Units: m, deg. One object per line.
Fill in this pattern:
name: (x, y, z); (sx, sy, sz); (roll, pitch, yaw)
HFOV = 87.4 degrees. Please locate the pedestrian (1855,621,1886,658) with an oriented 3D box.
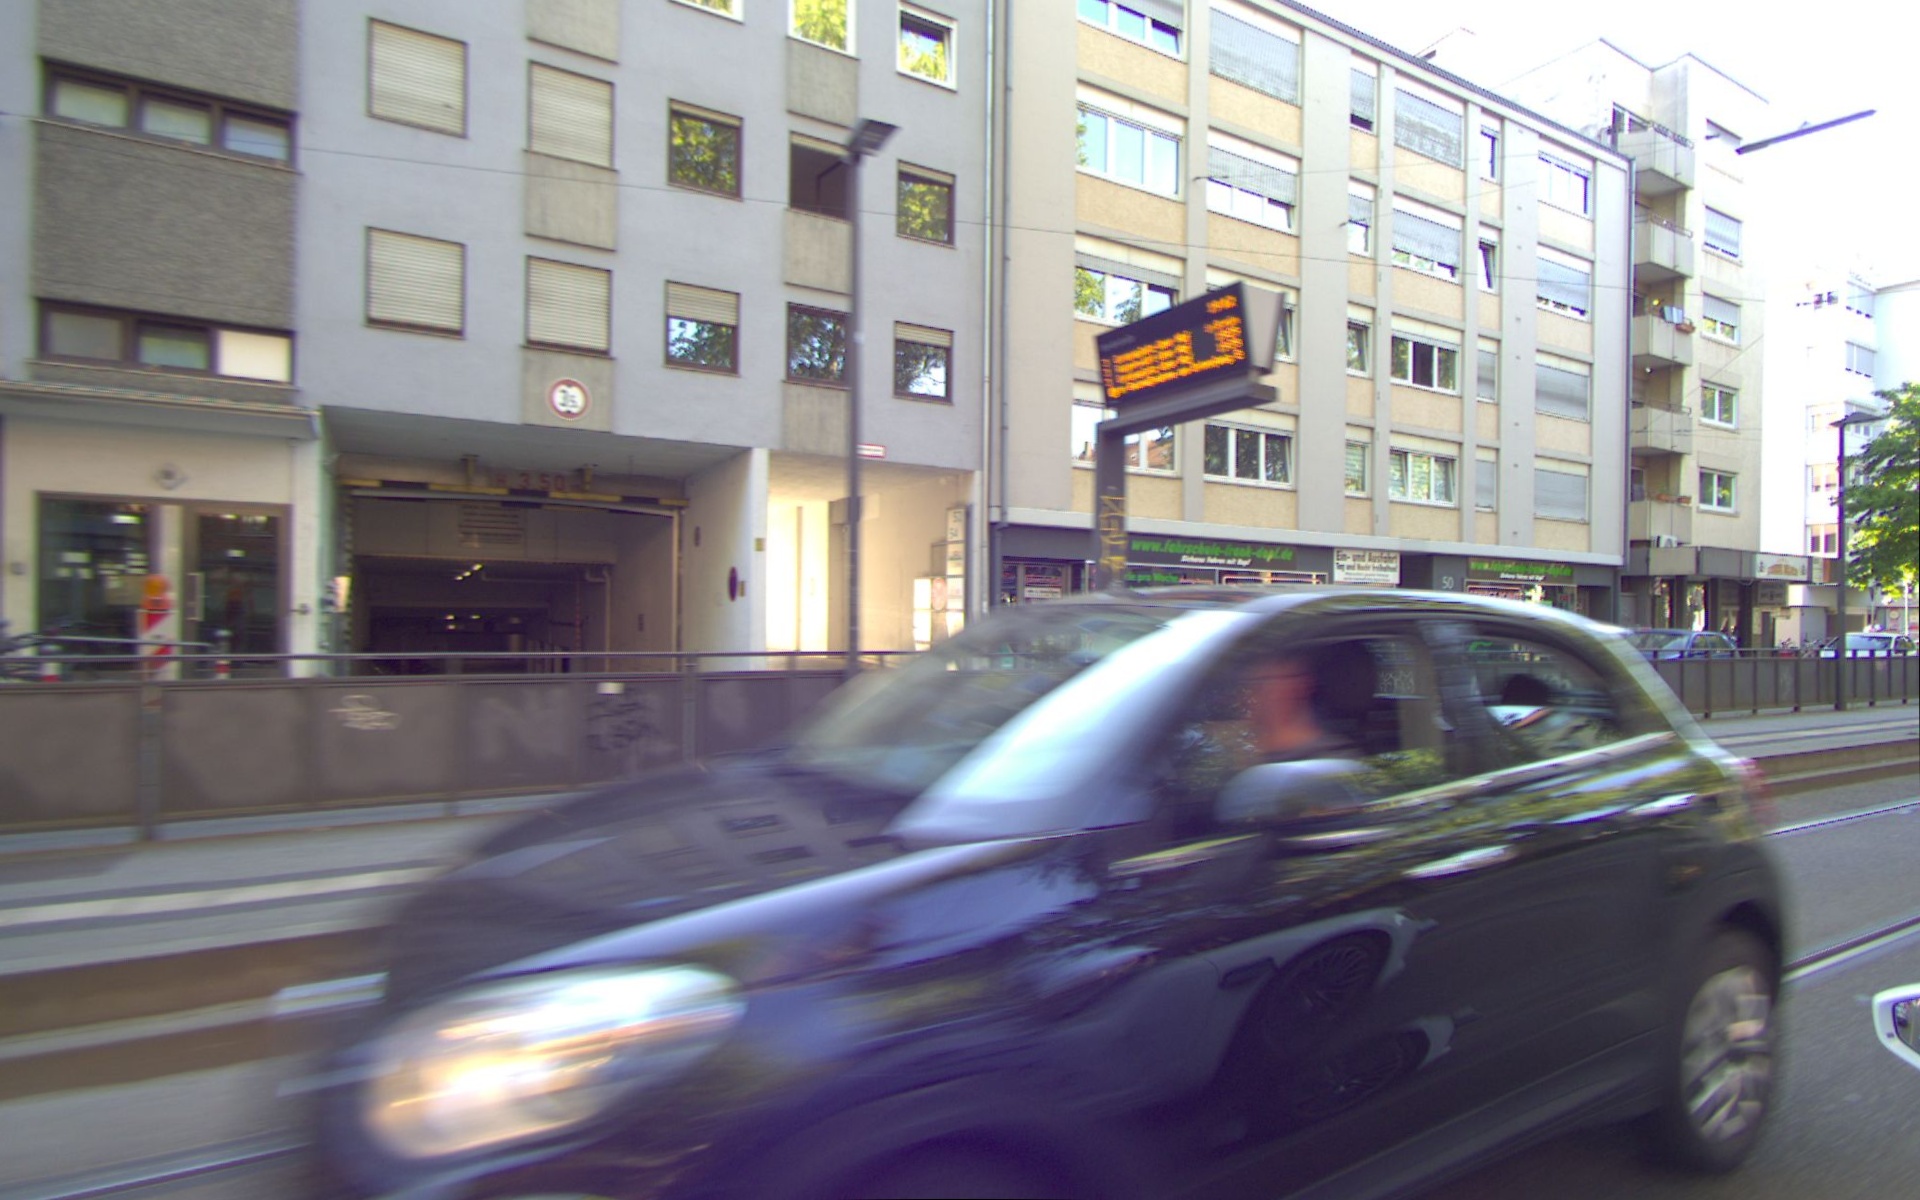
pedestrian: (41.543, 1.780, 45.829); (0.756, 1.681, 0.747); (1, -1, -18)

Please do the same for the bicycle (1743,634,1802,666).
bicycle: (31.889, 1.955, 39.452); (0.563, 1.172, 1.782); (1, -1, -19)

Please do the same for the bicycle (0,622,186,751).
bicycle: (-8.714, 0.801, 9.593); (0.553, 1.172, 2.018); (0, -2, 44)

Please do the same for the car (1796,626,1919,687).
car: (26.496, 1.619, 29.387); (4.309, 1.673, 1.868); (1, -2, -32)

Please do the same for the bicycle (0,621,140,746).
bicycle: (-9.175, 0.785, 9.589); (0.553, 1.172, 2.018); (0, -2, 44)

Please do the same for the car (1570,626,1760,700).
car: (16.198, 1.389, 23.045); (4.337, 1.565, 1.947); (1, -2, -30)

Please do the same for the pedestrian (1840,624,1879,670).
pedestrian: (31.595, 1.642, 35.282); (0.712, 1.577, 0.726); (1, -1, -8)

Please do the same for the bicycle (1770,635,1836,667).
bicycle: (31.805, 1.907, 37.941); (0.564, 1.172, 1.853); (1, -1, -25)

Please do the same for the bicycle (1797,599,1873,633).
bicycle: (31.073, 0.572, 35.705); (2.006, 1.172, 0.570); (0, -1, 38)

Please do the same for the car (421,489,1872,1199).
car: (0.753, 0.737, 2.878); (3.955, 1.610, 1.752); (1, -1, -32)

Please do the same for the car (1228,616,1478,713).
car: (6.789, 1.052, 17.243); (4.232, 1.483, 1.786); (1, -2, -30)
